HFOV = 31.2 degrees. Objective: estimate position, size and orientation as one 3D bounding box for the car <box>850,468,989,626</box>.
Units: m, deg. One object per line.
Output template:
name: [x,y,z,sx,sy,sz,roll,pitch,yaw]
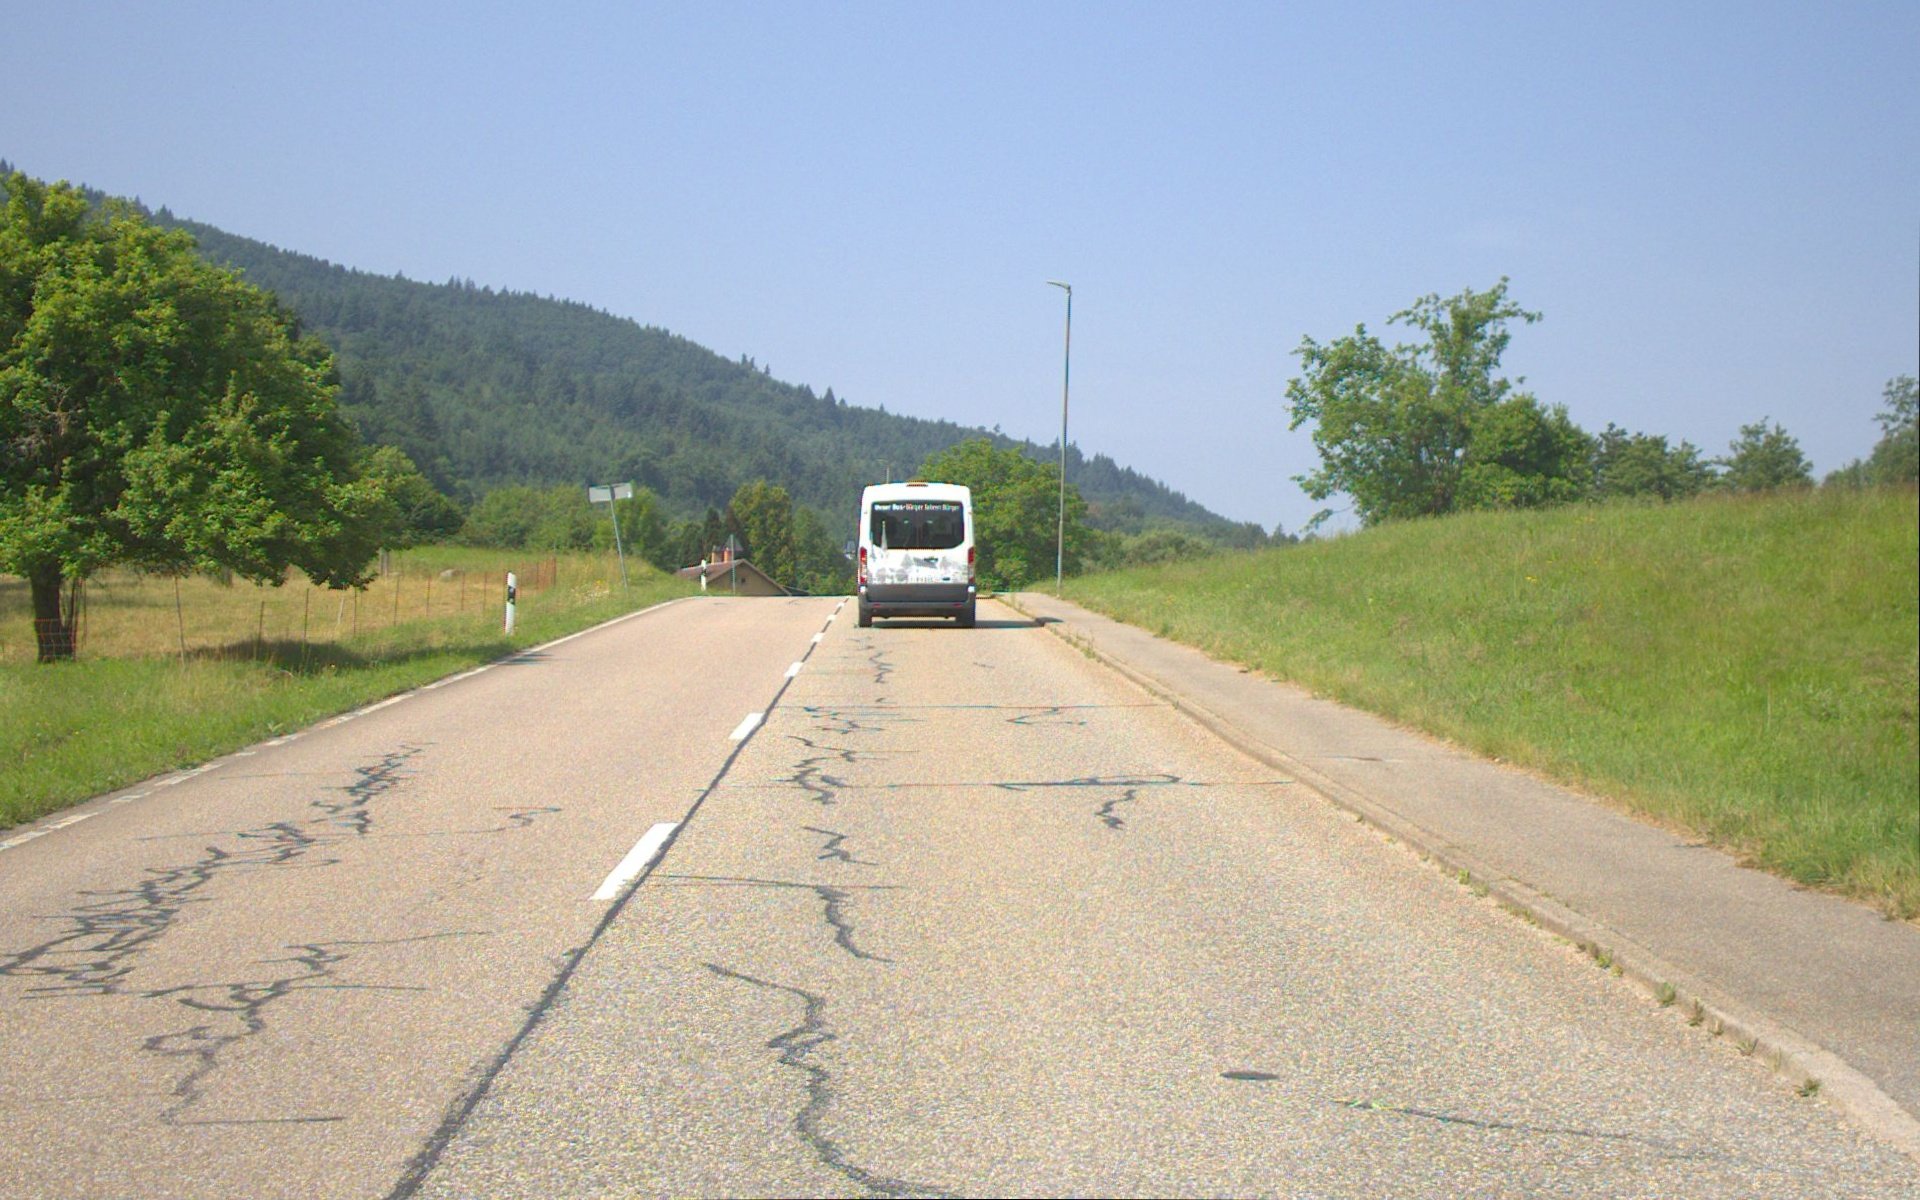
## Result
car: [-0.724,-0.861,59.879,2.222,2.517,4.984,-2,-1,-1]
